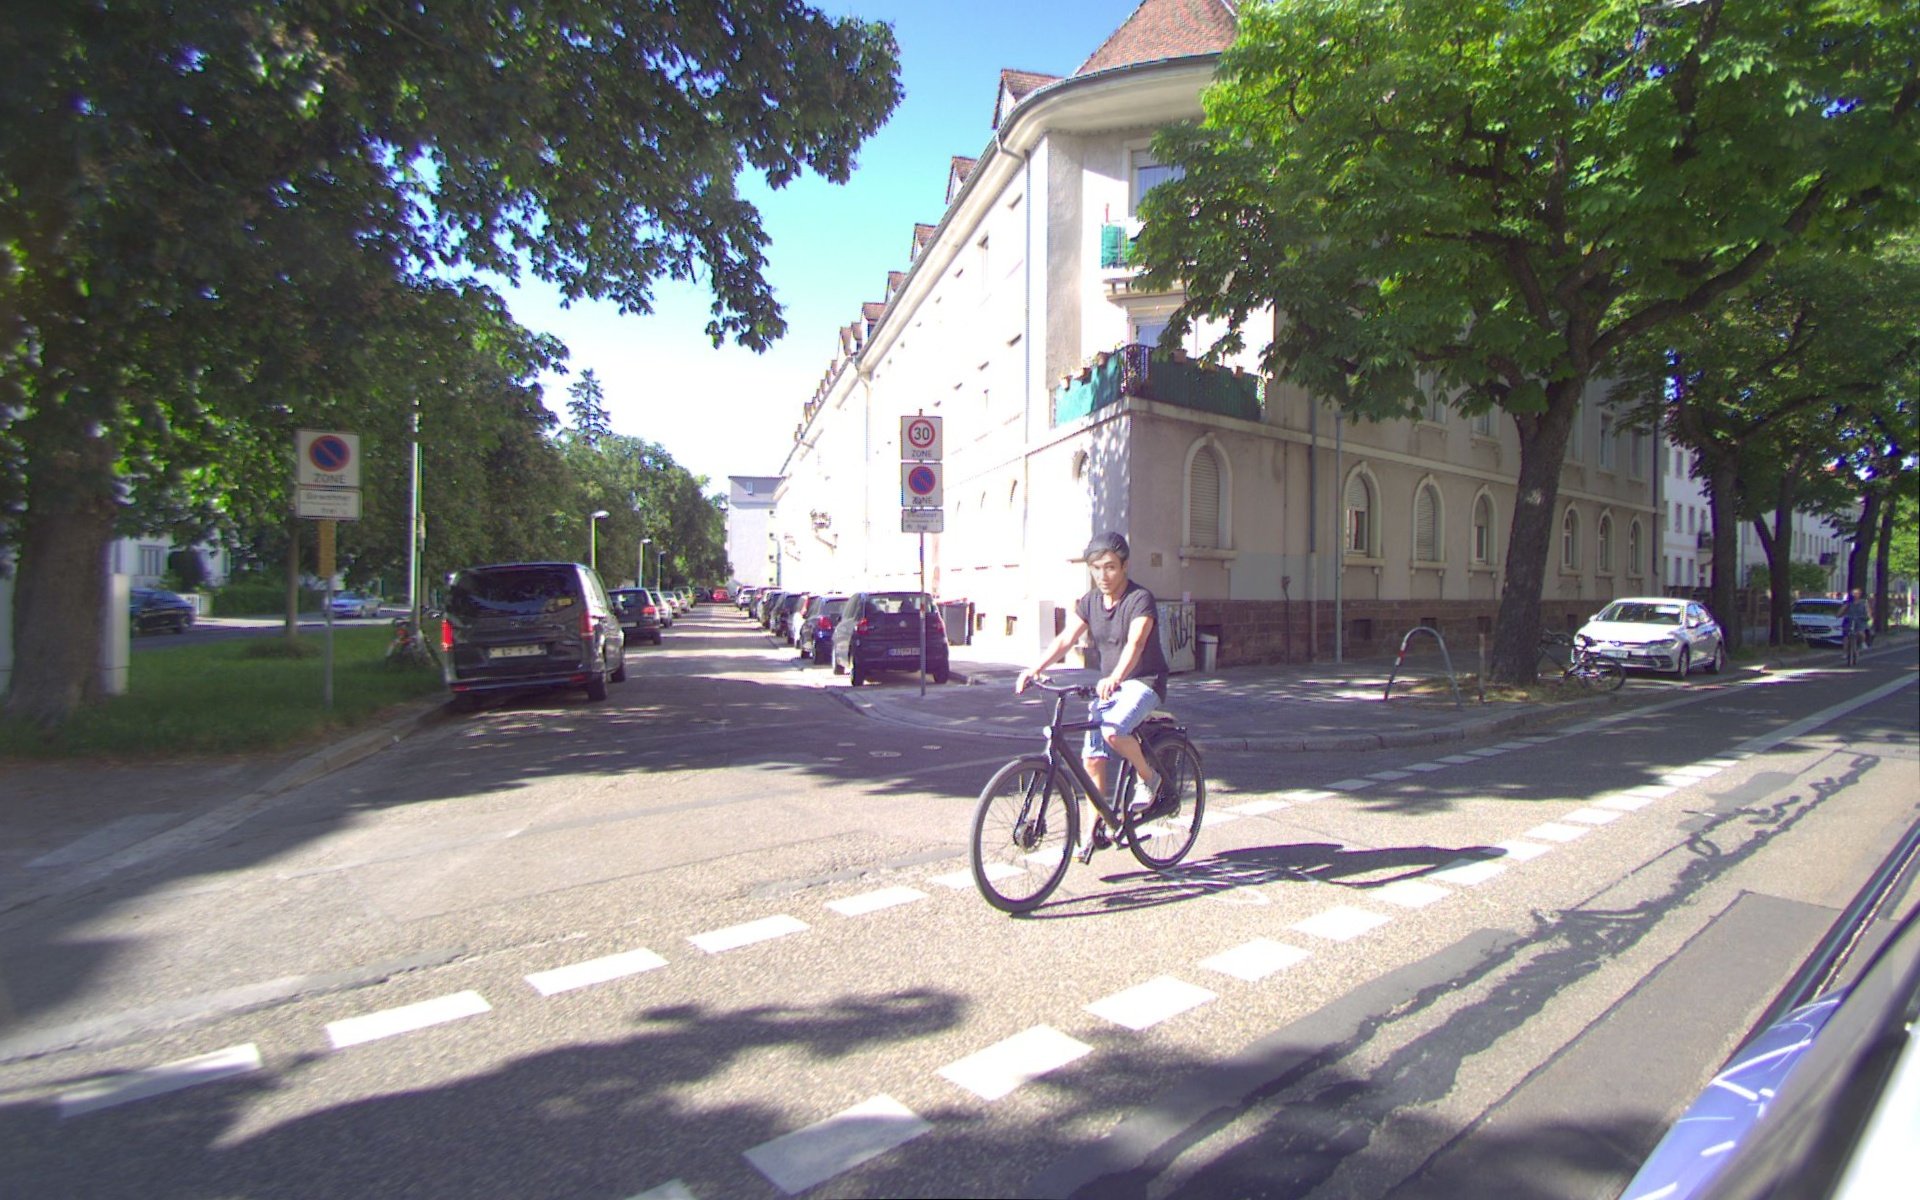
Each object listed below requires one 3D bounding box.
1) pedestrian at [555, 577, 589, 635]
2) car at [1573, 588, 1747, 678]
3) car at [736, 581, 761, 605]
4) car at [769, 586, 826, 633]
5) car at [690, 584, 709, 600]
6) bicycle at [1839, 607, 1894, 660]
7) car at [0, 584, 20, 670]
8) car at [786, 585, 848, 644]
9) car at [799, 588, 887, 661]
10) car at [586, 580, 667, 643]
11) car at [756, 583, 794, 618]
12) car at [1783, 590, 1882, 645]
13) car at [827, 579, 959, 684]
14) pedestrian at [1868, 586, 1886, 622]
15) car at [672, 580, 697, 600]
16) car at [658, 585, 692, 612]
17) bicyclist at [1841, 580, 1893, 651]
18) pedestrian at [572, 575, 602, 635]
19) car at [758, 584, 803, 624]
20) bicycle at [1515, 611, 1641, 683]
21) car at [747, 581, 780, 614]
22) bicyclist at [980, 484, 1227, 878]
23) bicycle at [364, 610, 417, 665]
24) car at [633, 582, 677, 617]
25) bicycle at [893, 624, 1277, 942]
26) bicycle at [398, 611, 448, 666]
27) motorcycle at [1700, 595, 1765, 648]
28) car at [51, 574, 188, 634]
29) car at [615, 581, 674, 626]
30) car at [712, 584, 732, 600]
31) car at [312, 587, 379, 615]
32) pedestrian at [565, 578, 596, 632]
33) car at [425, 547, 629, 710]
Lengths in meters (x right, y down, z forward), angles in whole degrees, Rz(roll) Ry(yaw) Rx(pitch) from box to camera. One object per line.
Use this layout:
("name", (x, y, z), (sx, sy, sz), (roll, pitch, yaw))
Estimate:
("pedestrian", (-10.666, 0.160, 27.828), (0.826, 1.588, 0.575), (0, 0, -17))
("car", (13.377, 0.544, 19.245), (4.140, 1.490, 1.705), (0, 2, -41))
("car", (-16.246, -0.544, 77.588), (1.746, 1.740, 4.051), (-3, 1, -13))
("car", (-5.530, 0.268, 34.081), (1.605, 1.434, 3.971), (-1, 1, -13))
("car", (-28.370, -0.846, 110.235), (1.958, 1.650, 5.077), (-2, 1, -14))
("bicycle", (20.298, 0.730, 22.643), (2.024, 1.100, 0.775), (0, 0, -44))
("car", (-17.264, 0.463, 16.029), (1.749, 1.505, 3.981), (3, 0, -15))
("car", (-4.040, 0.344, 28.273), (1.408, 1.518, 3.509), (-1, 1, -13))
("car", (-2.625, 0.473, 22.121), (1.539, 1.415, 3.366), (-1, 1, -13))
("car", (-9.619, 0.266, 29.449), (1.895, 1.629, 4.630), (-2, 1, -14))
("car", (-8.695, -0.001, 47.392), (1.605, 1.518, 3.644), (-1, 1, -13))
("car", (26.838, 0.478, 31.075), (4.670, 1.502, 1.821), (0, 2, -44))
("car", (-1.257, 0.456, 17.443), (1.687, 1.557, 3.447), (-3, 1, -13))
("pedestrian", (52.402, 0.240, 57.819), (0.740, 2.039, 0.678), (1, 0, 41))
("car", (-23.323, -0.852, 85.876), (1.958, 1.650, 5.077), (-2, 1, -14))
("car", (-18.385, -0.122, 65.408), (1.958, 1.650, 5.077), (-2, 1, -14))
("bicyclist", (20.303, 0.327, 22.649), (1.209, 1.533, 0.775), (0, 0, -43))
("pedestrian", (-11.750, 0.149, 31.904), (0.826, 1.865, 0.575), (0, 0, -16))
("car", (-7.311, 0.140, 41.052), (1.605, 1.518, 3.777), (-1, 1, -13))
("bicycle", (9.589, 0.702, 15.734), (1.564, 0.992, 0.631), (3, 2, 41))
("car", (-10.515, -0.157, 53.993), (1.605, 1.694, 3.865), (-1, 1, -13))
("bicyclist", (0.736, 0.361, 5.161), (1.028, 1.761, 0.762), (0, -1, -41))
("bicycle", (-8.834, 0.564, 15.728), (0.410, 0.768, 1.386), (0, 1, -16))
("car", (-15.718, -0.063, 52.393), (1.958, 1.650, 5.077), (-2, 1, -14))
("bicycle", (0.706, 0.772, 5.128), (2.059, 1.258, 0.762), (0, -1, -41))
("bicycle", (-8.390, 0.577, 15.843), (0.410, 0.787, 1.386), (0, 1, -16))
("motorcycle", (19.374, 0.521, 25.362), (2.221, 1.266, 0.763), (0, 1, -39))
("car", (-26.104, 0.100, 31.590), (1.749, 1.673, 3.878), (3, 0, -15))
("car", (-12.595, 0.095, 40.606), (1.958, 1.650, 5.077), (-2, 1, -14))
("car", (-26.212, -0.859, 111.192), (1.958, 1.650, 5.077), (-2, 1, -14))
("car", (-30.874, 0.016, 50.967), (1.770, 1.236, 3.878), (3, 0, -15))
("pedestrian", (-11.354, 0.132, 30.269), (0.826, 1.588, 0.575), (0, 0, -17))
("car", (-6.080, 0.295, 14.839), (1.958, 1.914, 5.077), (-2, 1, -14))
